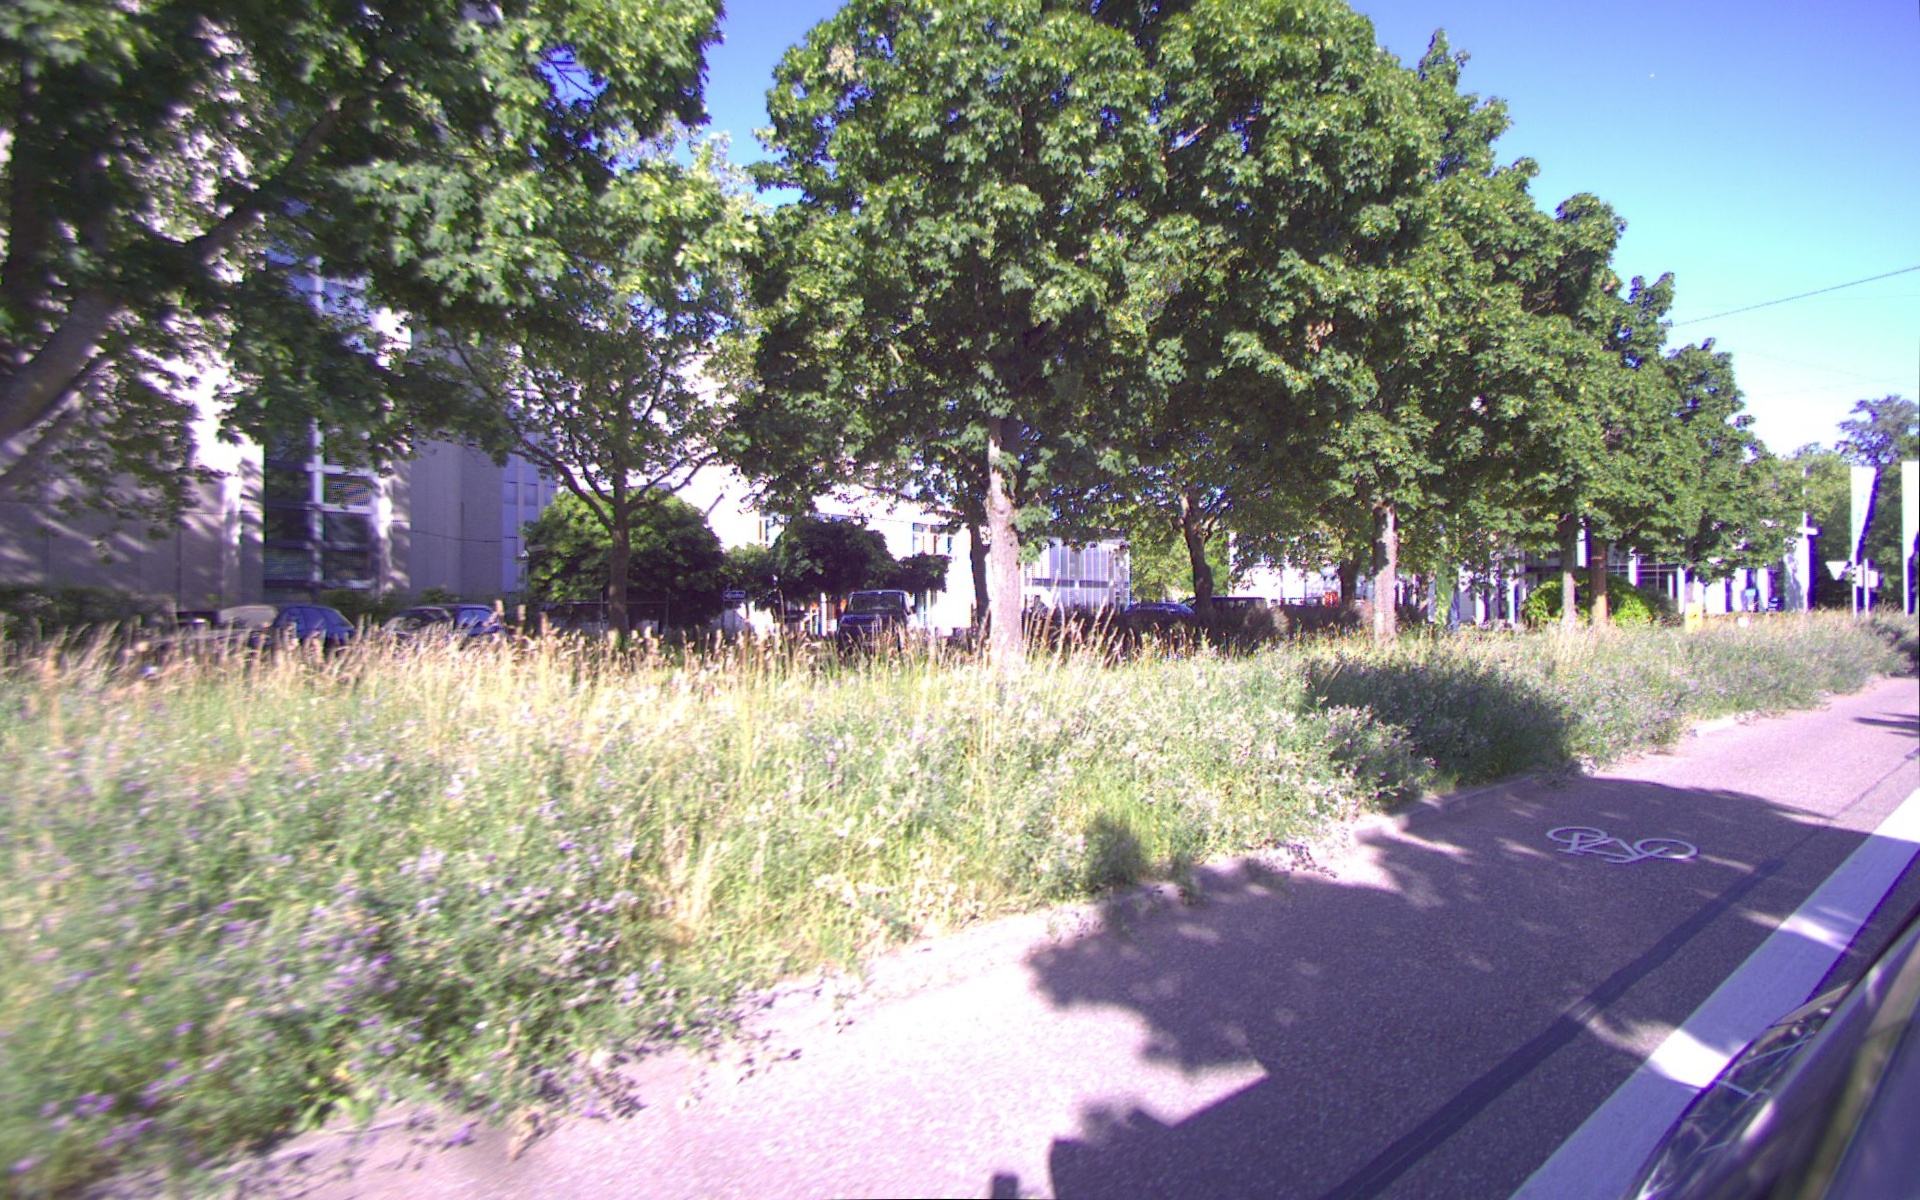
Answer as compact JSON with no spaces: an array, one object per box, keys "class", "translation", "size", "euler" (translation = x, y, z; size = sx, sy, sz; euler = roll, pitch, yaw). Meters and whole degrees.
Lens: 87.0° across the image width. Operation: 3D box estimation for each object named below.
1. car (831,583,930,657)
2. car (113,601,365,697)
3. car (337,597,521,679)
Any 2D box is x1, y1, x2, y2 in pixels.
[{"class":"car","translation":[-2.133,0.528,28.725],"size":[2.042,1.900,5.180],"euler":[-1,0,4]},{"class":"car","translation":[-13.094,0.809,18.793],"size":[1.811,1.535,4.554],"euler":[-1,0,-6]},{"class":"car","translation":[-10.727,0.712,20.849],"size":[1.811,1.467,4.554],"euler":[-1,0,-6]}]
